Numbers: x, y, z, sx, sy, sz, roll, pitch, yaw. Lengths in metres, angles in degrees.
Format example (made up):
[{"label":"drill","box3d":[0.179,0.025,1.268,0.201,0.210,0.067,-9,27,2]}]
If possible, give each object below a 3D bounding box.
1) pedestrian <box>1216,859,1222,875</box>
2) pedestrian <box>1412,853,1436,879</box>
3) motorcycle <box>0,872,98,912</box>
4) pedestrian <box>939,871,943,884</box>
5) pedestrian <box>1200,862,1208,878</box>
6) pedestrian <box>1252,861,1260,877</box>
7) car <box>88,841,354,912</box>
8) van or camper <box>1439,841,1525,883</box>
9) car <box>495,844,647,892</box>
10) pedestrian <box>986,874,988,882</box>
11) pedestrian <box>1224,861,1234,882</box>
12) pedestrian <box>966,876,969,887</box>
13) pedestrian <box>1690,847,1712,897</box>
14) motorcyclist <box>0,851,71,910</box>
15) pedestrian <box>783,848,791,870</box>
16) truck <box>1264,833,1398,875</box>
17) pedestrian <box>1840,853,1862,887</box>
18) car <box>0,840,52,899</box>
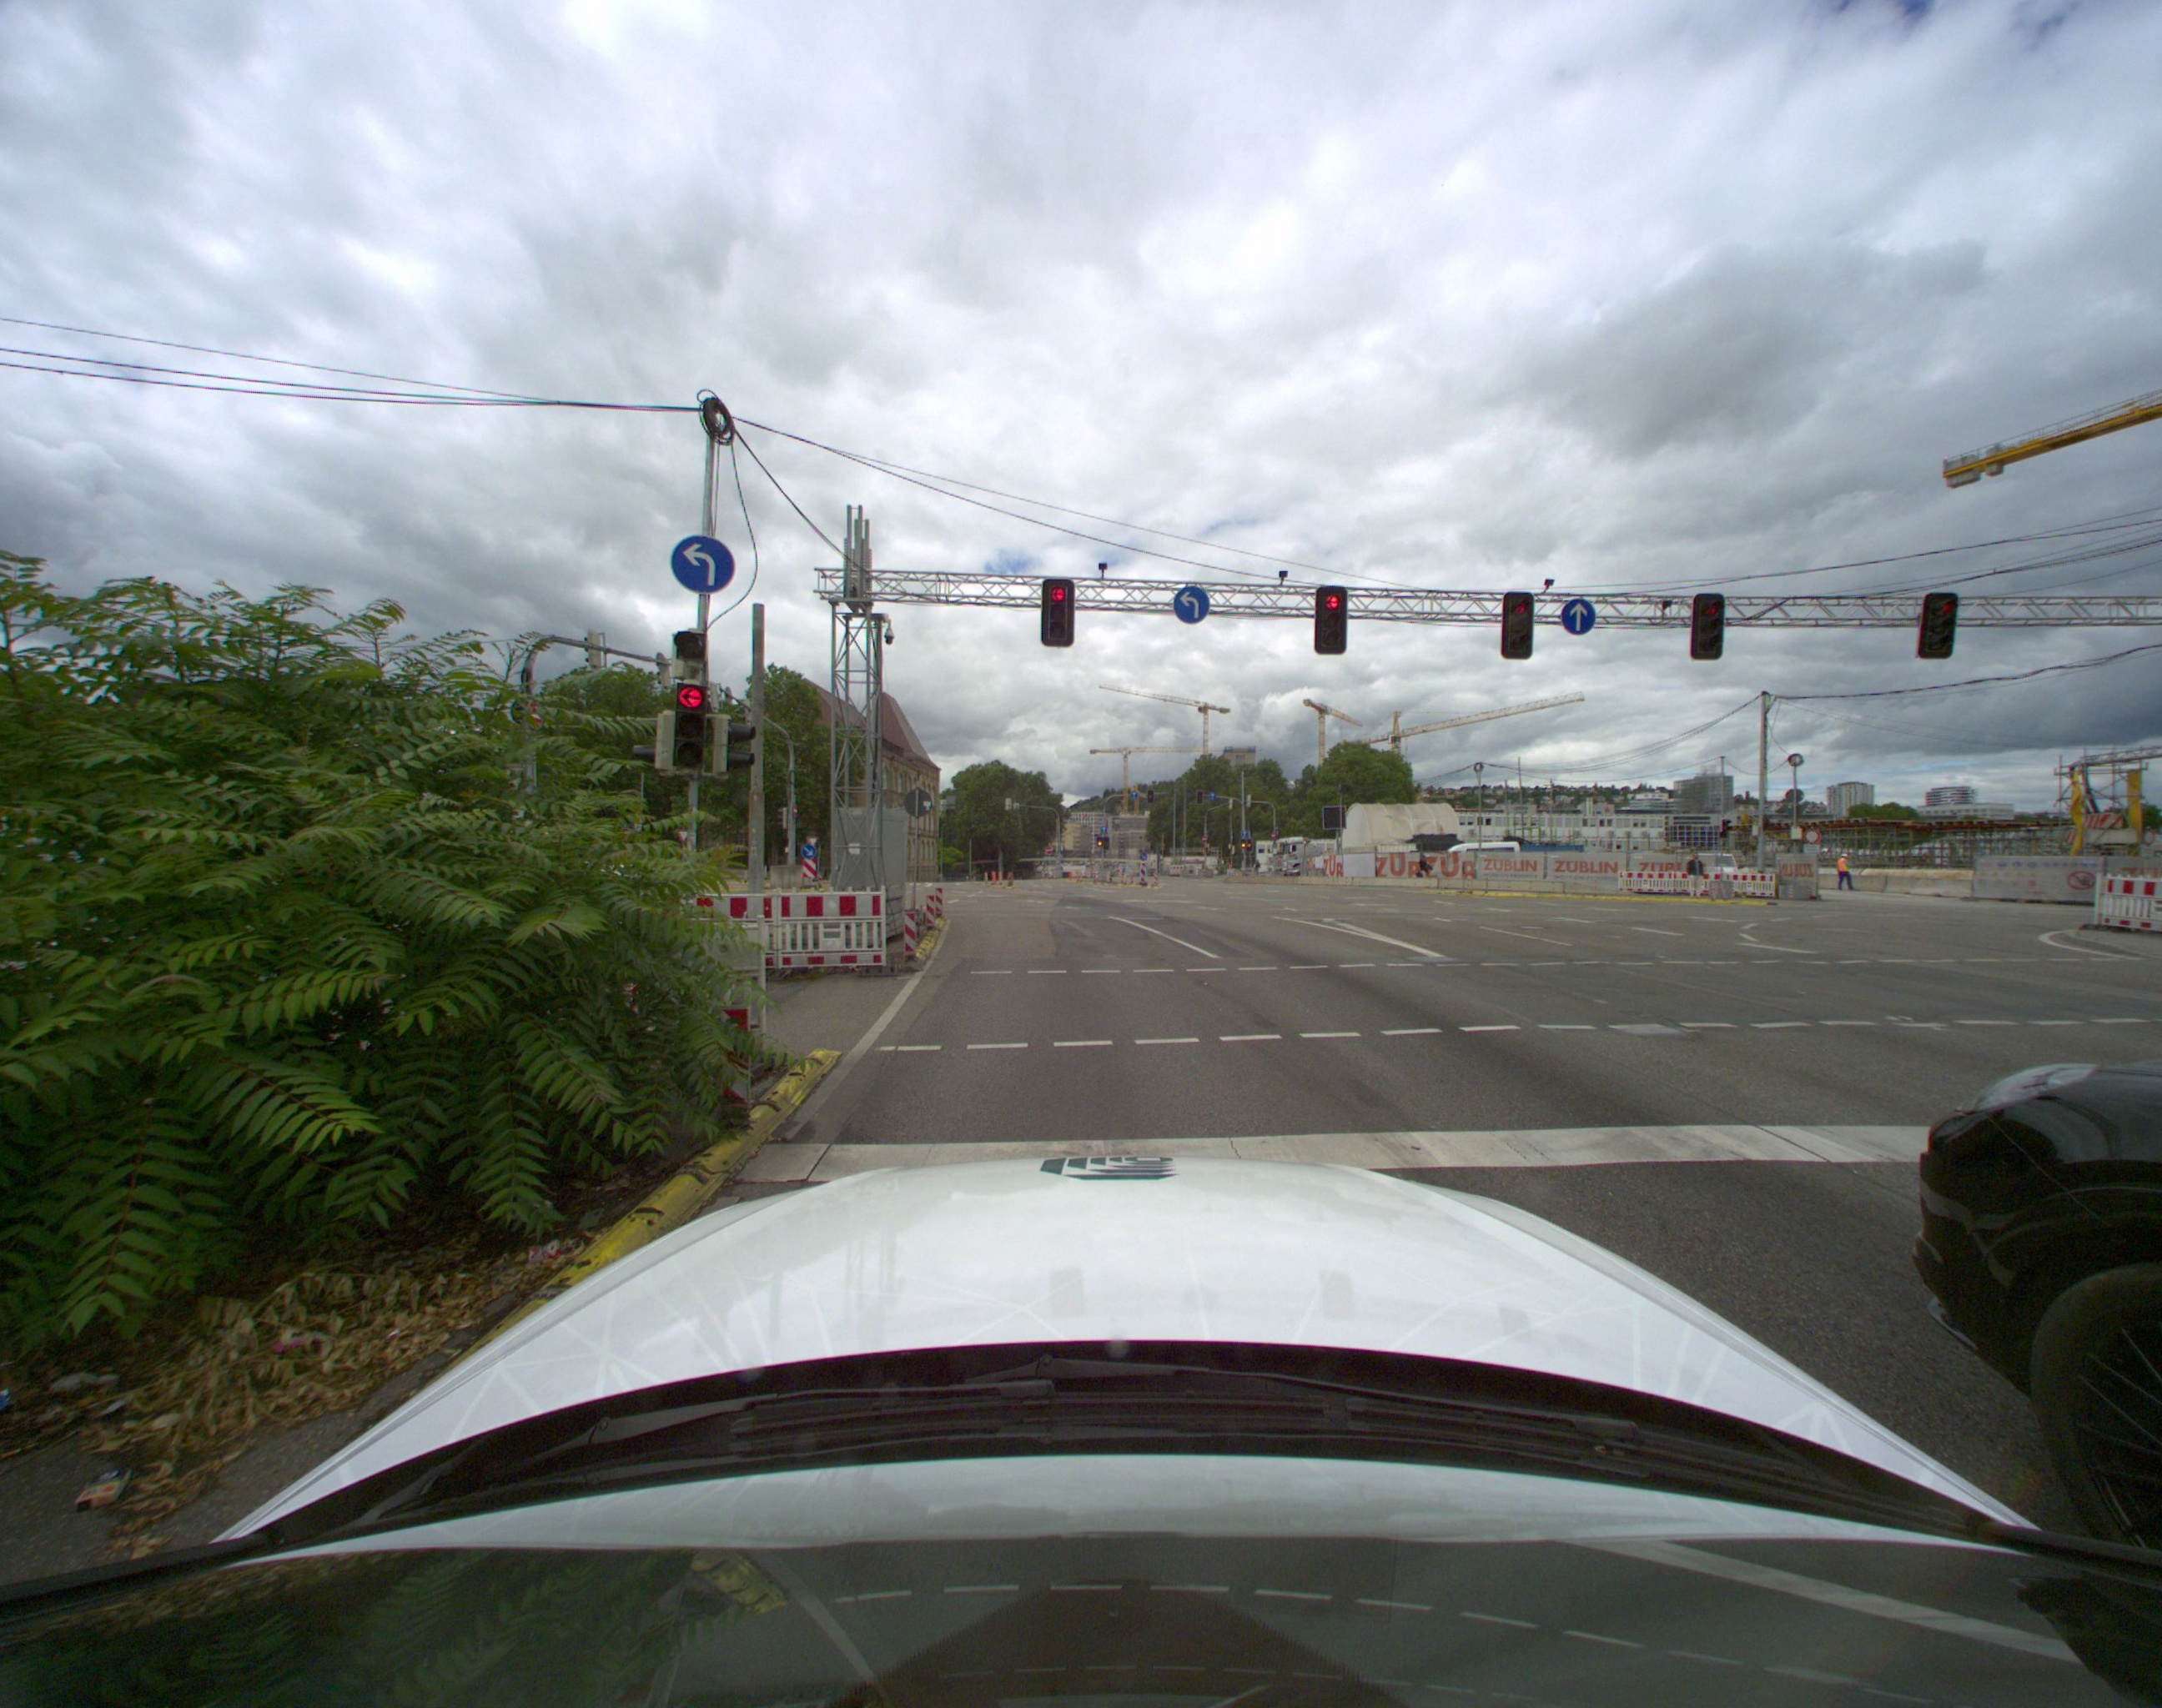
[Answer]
[{"label":"pedestrian","box3d":[14.792,1.393,87.373,0.564,1.689,0.472,0,0,1]},{"label":"pedestrian","box3d":[18.746,0.644,44.541,0.800,1.378,0.898,0,0,-23]},{"label":"motorcycle","box3d":[-25.477,0.921,19.815,2.051,0.924,0.756,0,0,-4]},{"label":"pedestrian","box3d":[-21.422,3.659,124.843,0.522,2.014,0.567,0,0,2]},{"label":"pedestrian","box3d":[13.139,1.681,87.110,0.726,1.689,0.678,0,0,1]},{"label":"pedestrian","box3d":[18.845,1.609,87.529,0.615,1.689,0.716,0,0,31]},{"label":"car","box3d":[-21.220,0.529,20.261,4.302,1.676,1.998,0,0,-3]},{"label":"van or camper","box3d":[23.148,0.424,47.204,4.181,2.357,2.009,0,0,16]},{"label":"car","box3d":[-18.823,0.505,30.252,4.315,1.676,1.992,0,0,-12]},{"label":"pedestrian","box3d":[-20.792,5.329,179.952,0.534,1.592,0.515,0,0,-2]},{"label":"pedestrian","box3d":[12.250,1.439,67.406,0.726,1.689,0.678,0,0,1]},{"label":"pedestrian","box3d":[-21.518,5.196,154.793,0.522,2.014,0.567,0,0,2]},{"label":"pedestrian","box3d":[25.698,0.738,33.763,0.645,2.013,0.520,0,0,27]},{"label":"motorcyclist","box3d":[-25.541,0.631,19.811,0.963,1.423,0.745,0,0,-4]},{"label":"pedestrian","box3d":[-26.820,0.432,74.225,0.530,2.014,0.423,1,-1,-42]},{"label":"truck","box3d":[25.035,-0.020,81.591,13.062,4.041,3.926,0,0,-18]},{"label":"pedestrian","box3d":[38.544,0.793,40.769,0.651,1.717,0.516,0,0,-9]},{"label":"car","box3d":[-32.942,0.429,23.280,4.302,1.676,1.998,0,0,-3]}]
